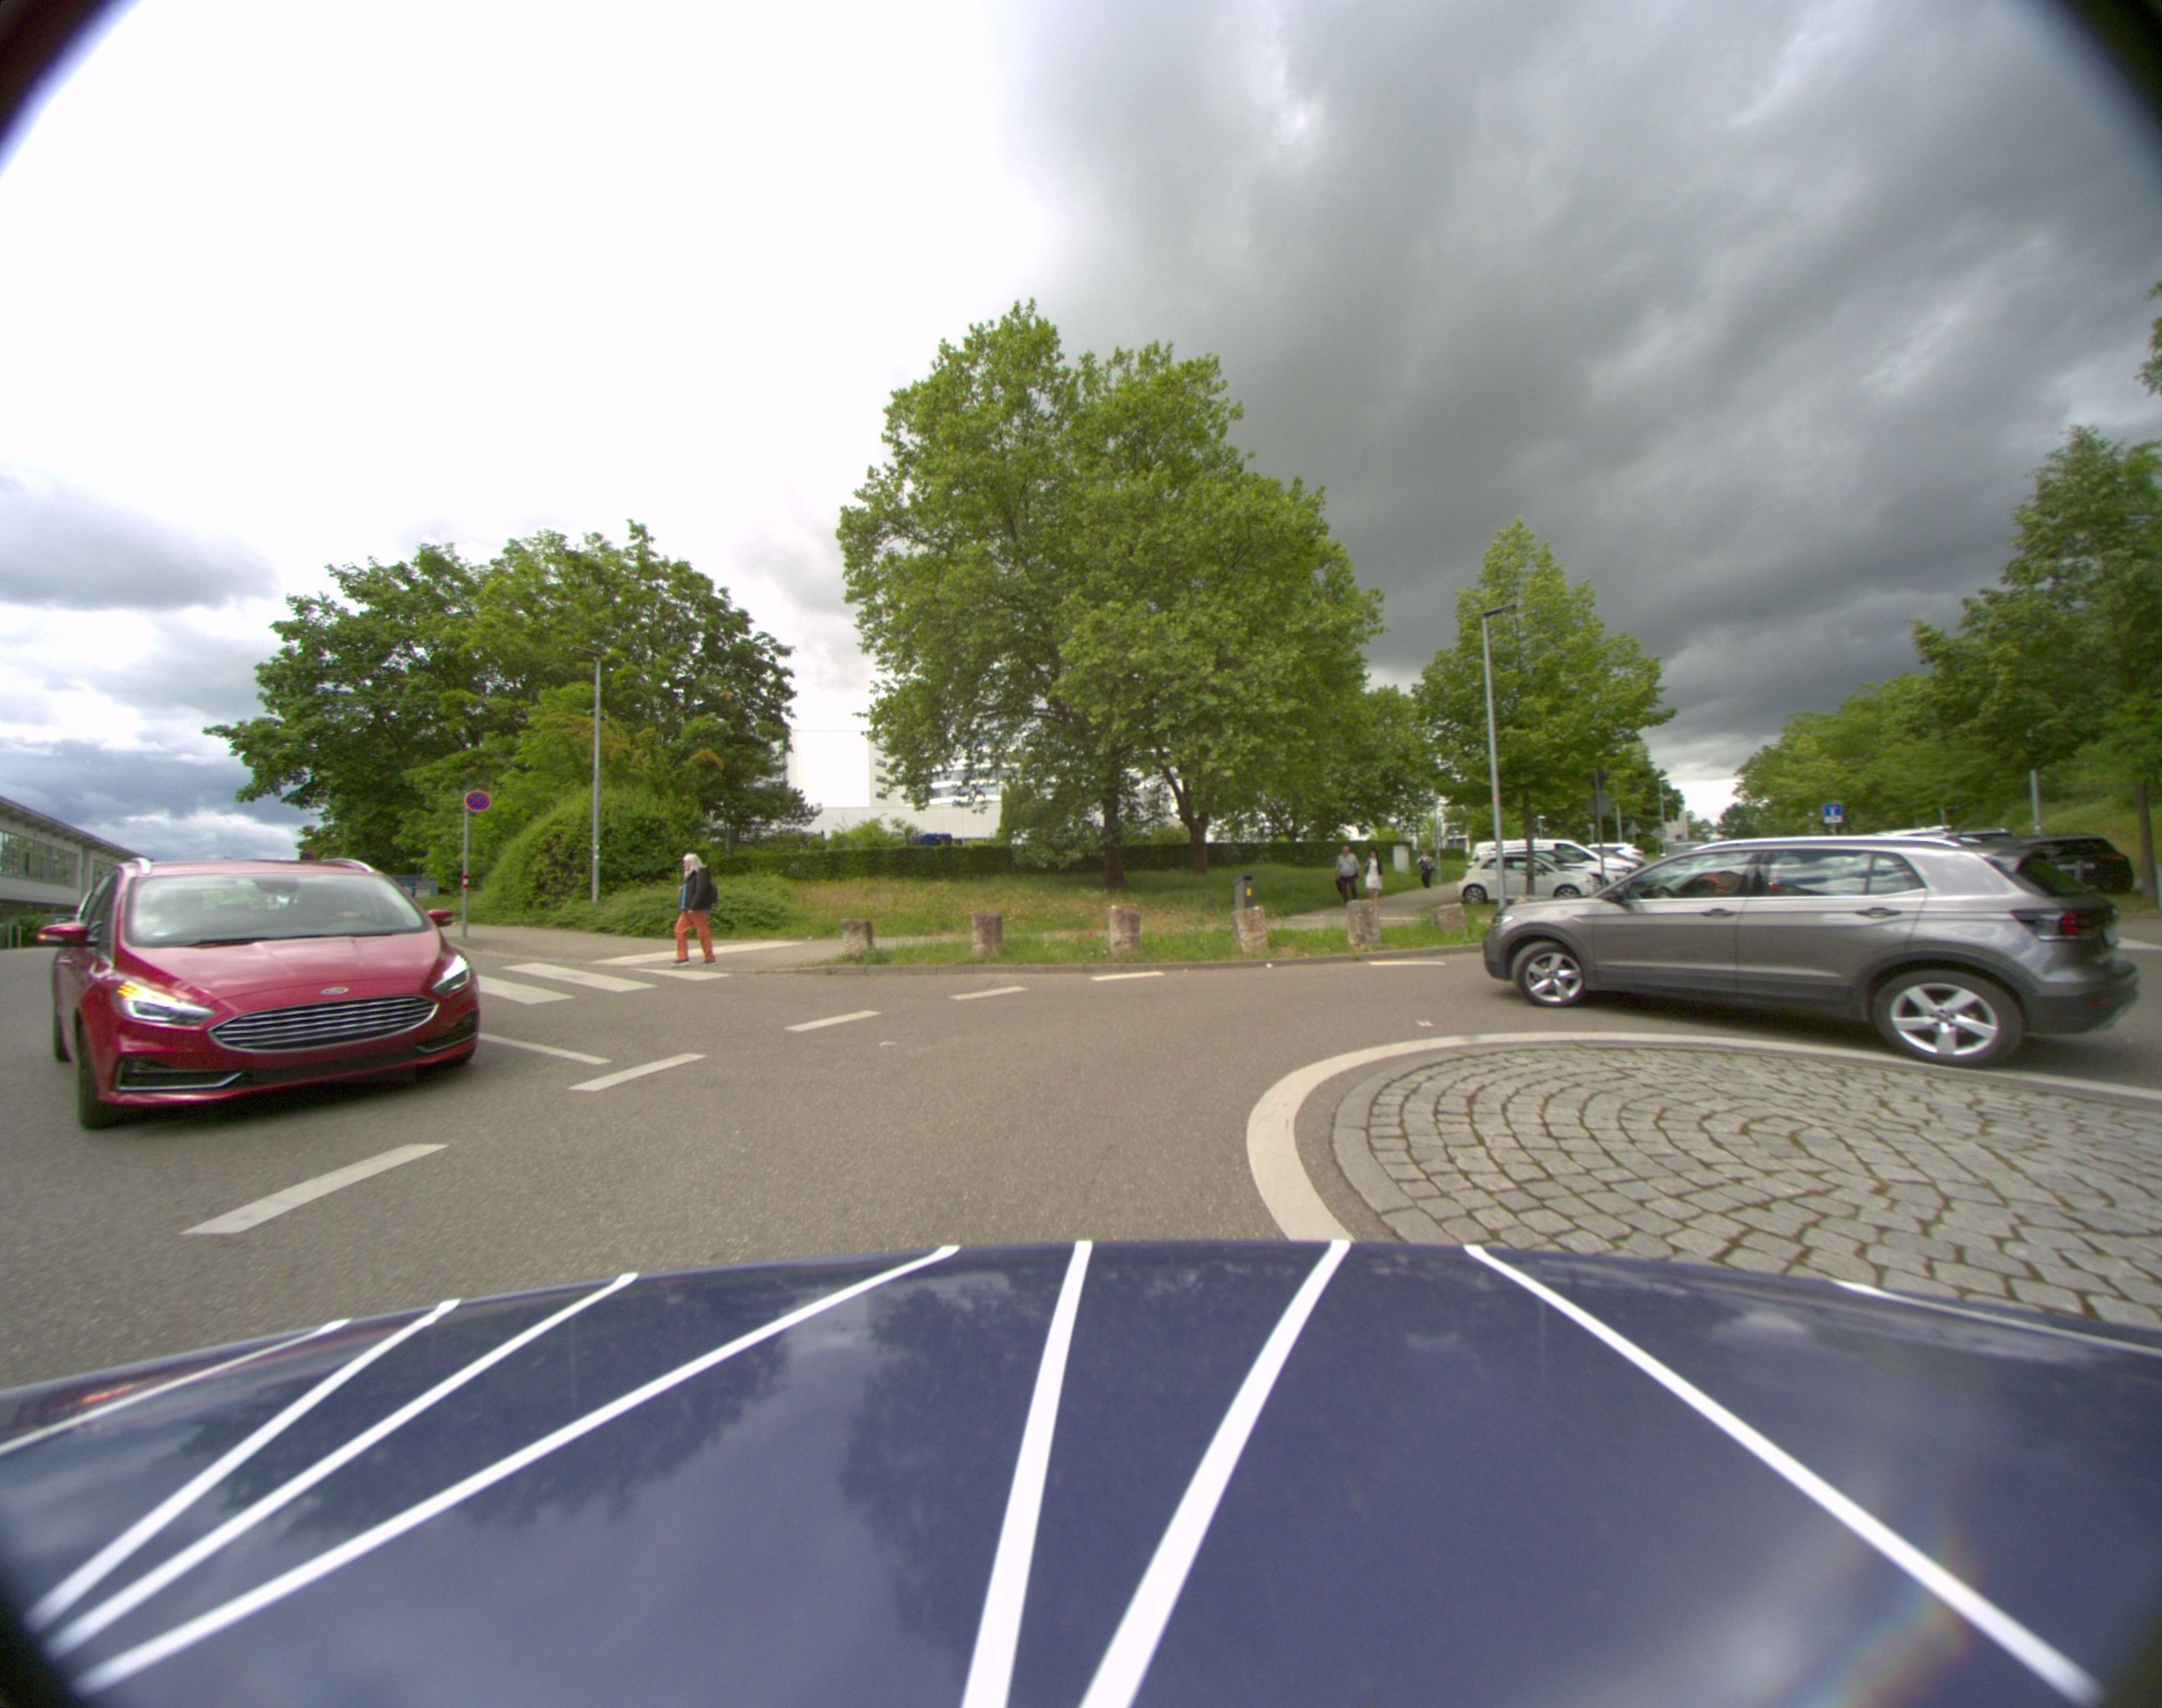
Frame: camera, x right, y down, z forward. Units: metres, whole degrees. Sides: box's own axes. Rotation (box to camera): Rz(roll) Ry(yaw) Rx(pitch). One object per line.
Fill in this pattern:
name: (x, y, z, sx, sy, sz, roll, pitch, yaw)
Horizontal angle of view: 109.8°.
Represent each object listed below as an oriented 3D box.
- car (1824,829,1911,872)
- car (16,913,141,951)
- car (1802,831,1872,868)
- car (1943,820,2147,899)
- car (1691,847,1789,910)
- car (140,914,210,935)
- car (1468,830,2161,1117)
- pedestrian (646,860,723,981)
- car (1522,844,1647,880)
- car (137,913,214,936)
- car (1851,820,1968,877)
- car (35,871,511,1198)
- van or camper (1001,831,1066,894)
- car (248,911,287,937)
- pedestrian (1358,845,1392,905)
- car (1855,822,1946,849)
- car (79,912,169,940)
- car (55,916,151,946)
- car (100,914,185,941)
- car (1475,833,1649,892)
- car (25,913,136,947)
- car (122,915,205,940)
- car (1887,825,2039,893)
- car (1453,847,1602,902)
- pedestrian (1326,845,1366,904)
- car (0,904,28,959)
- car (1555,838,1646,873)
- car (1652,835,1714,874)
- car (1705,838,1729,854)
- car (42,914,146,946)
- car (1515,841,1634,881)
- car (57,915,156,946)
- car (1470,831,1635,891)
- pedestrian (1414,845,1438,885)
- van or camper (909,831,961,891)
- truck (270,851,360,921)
car: (31.788, -0.131, 30.834, 1.691, 1.501, 4.239, -7, -4, 37)
car: (-46.334, 3.577, 35.218, 1.506, 1.382, 3.305, 0, 1, 44)
car: (34.884, -0.196, 35.160, 1.691, 1.478, 3.961, -7, -4, 38)
car: (21.652, 0.110, 17.306, 1.691, 1.455, 4.465, -7, -4, 37)
car: (17.454, 0.658, 20.108, 1.755, 1.506, 4.009, -4, -4, 42)
car: (-78.962, 6.095, 66.291, 1.637, 1.435, 3.785, 0, 1, 44)
car: (5.697, 0.683, 6.446, 1.725, 1.608, 4.000, -2, 0, -29)
pedestrian: (-5.805, 0.938, 11.136, 0.842, 1.656, 0.613, -2, 2, -42)
car: (22.836, 0.373, 34.569, 4.577, 1.483, 1.955, -2, 0, 34)
car: (-71.397, 5.563, 59.995, 1.637, 1.435, 3.785, 0, 1, 44)
car: (28.555, -0.184, 26.352, 1.809, 1.654, 4.446, -7, -4, 37)
car: (-6.565, 0.973, 6.026, 4.523, 1.635, 1.985, 0, -1, 35)
van or camper: (-2.381, 0.444, 36.676, 2.116, 2.781, 4.475, -2, -1, -16)
car: (-68.665, 5.867, 64.186, 2.004, 2.001, 3.990, -2, -2, -43)
pedestrian: (8.321, 0.594, 21.499, 0.689, 1.647, 0.601, -3, -1, 36)
car: (56.903, -1.255, 52.849, 1.672, 1.630, 3.998, -3, -1, -8)
car: (-58.849, 4.419, 46.814, 1.506, 1.382, 3.305, 0, 1, 44)
car: (-57.709, 4.501, 44.929, 1.506, 1.382, 3.305, 0, 1, 44)
car: (-60.608, 4.754, 49.144, 1.506, 1.382, 3.305, 0, 1, 44)
car: (16.175, 0.295, 25.687, 4.776, 1.821, 1.846, -1, 1, 38)
car: (-52.095, 3.937, 39.655, 1.506, 1.382, 3.305, 0, 1, 44)
car: (-67.563, 5.397, 56.046, 1.637, 1.473, 3.785, 0, 1, 44)
car: (24.880, 0.088, 21.636, 1.801, 1.605, 4.487, -7, -3, 37)
car: (12.823, 0.558, 21.894, 3.513, 1.453, 1.742, 0, 0, 37)
pedestrian: (7.665, 0.593, 21.979, 0.870, 1.647, 0.594, -4, -1, 36)
car: (-32.270, 2.255, 20.808, 1.637, 1.473, 3.785, 0, 1, 44)
car: (26.361, 0.081, 38.597, 3.672, 1.637, 1.855, -2, 0, 39)
car: (25.893, 0.000, 32.637, 1.755, 1.506, 4.008, -4, -2, 42)
car: (69.882, -0.899, 83.480, 1.755, 1.606, 4.008, -4, -2, 42)
car: (-53.933, 4.106, 41.609, 1.506, 1.382, 3.305, 0, 1, 44)
car: (19.538, 0.271, 30.128, 3.826, 1.511, 1.915, -1, 1, 36)
car: (-55.492, 4.352, 43.349, 1.506, 1.382, 3.305, 0, 1, 44)
car: (14.523, 0.248, 23.507, 4.153, 1.592, 1.742, -4, -2, 36)
pedestrian: (13.353, 0.418, 29.406, 0.677, 1.510, 0.708, -3, -1, 35)
van or camper: (-7.502, 0.401, 38.658, 2.116, 2.781, 4.475, -2, -1, -16)
truck: (-31.556, 1.356, 31.249, 5.793, 2.591, 2.072, -4, -2, 40)
